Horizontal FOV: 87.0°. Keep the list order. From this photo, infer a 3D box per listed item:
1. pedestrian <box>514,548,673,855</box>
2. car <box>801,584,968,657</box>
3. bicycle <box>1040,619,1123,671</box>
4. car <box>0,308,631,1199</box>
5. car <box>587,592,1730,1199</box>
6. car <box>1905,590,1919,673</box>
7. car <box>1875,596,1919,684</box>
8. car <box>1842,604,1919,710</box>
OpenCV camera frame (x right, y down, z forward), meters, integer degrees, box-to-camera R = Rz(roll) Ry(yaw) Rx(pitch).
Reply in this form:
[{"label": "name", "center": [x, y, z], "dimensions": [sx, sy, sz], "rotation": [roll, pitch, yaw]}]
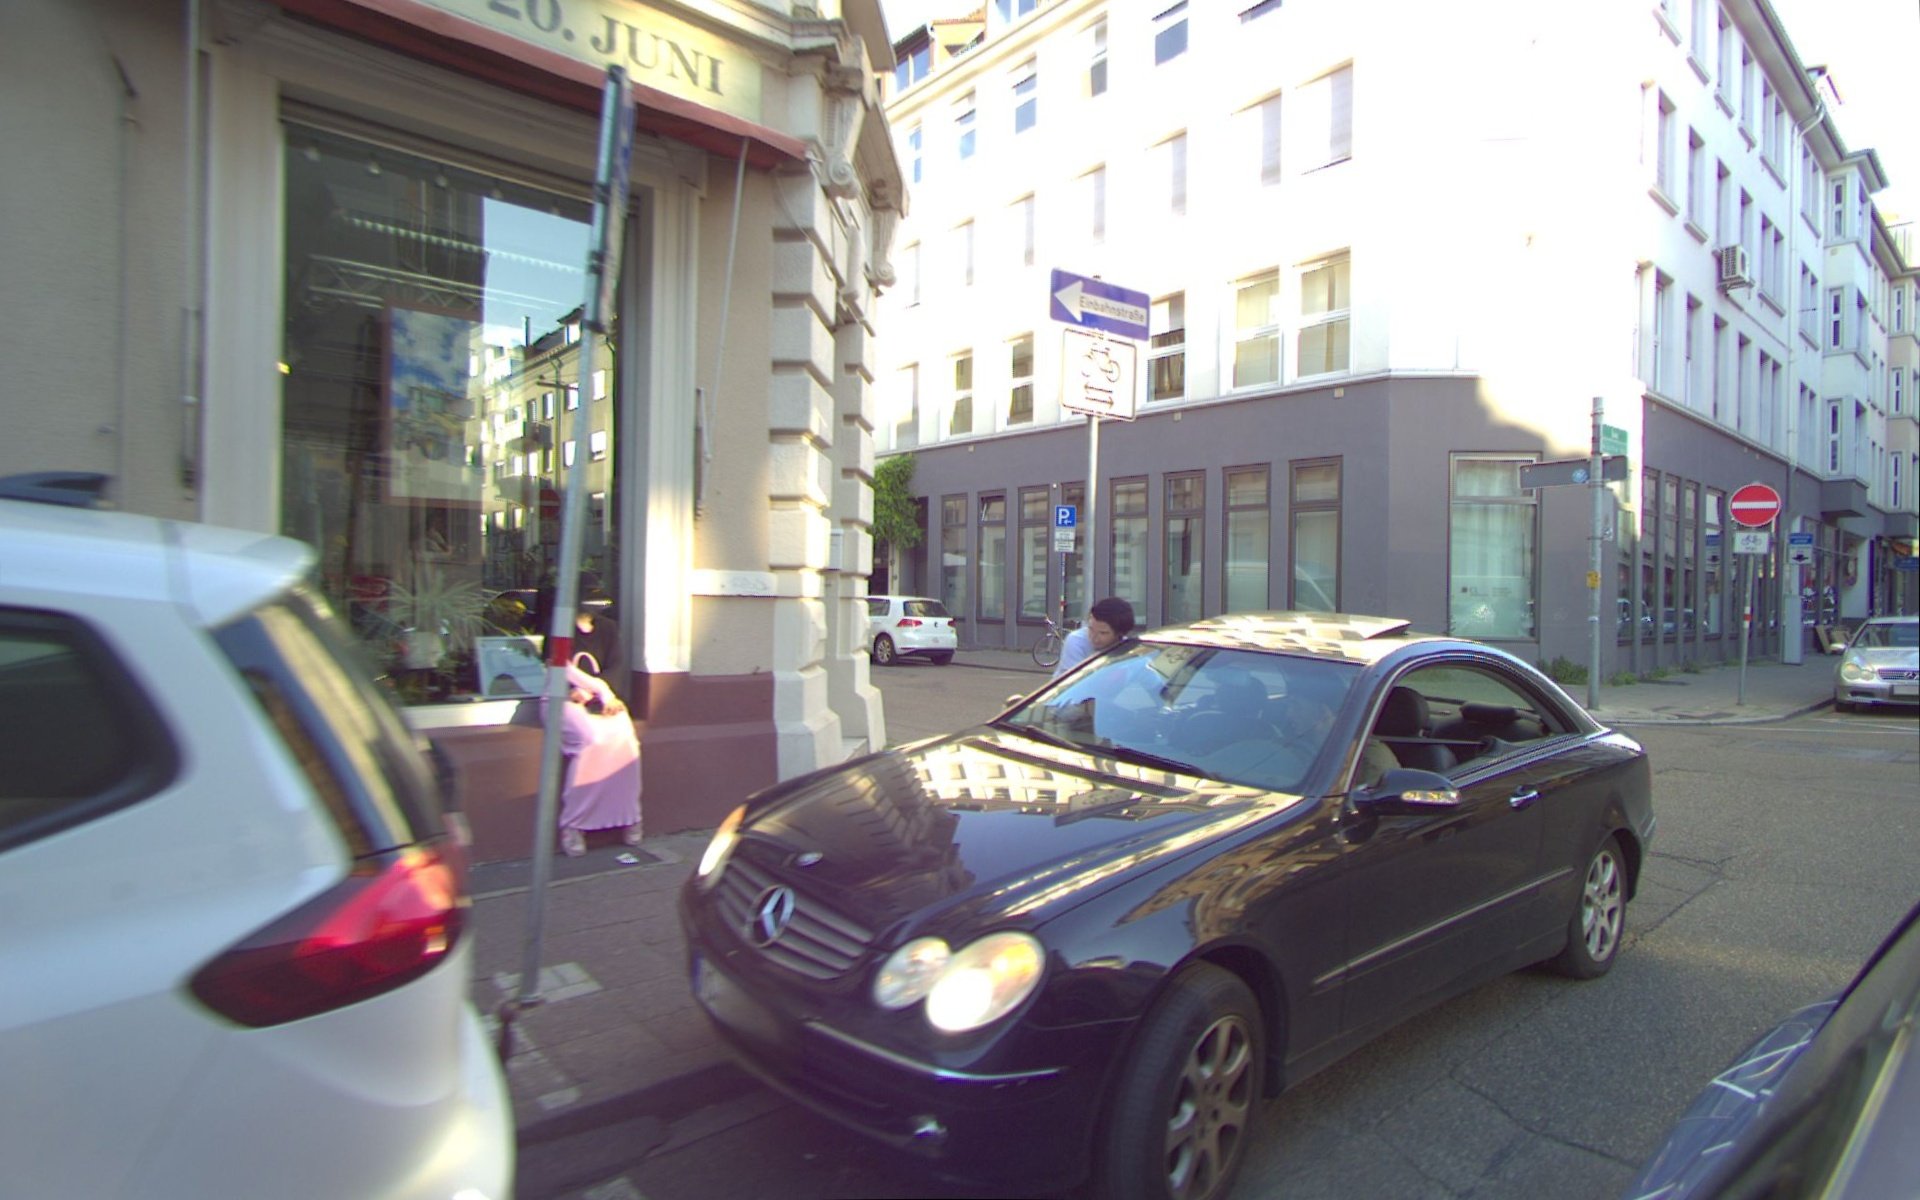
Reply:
[{"label": "pedestrian", "center": [-1.956, 0.488, 5.381], "dimensions": [0.570, 1.490, 0.716], "rotation": [1, 0, -41]}, {"label": "car", "center": [-1.728, 0.400, 22.219], "dimensions": [1.634, 1.432, 3.875], "rotation": [1, 0, -42]}, {"label": "bicycle", "center": [2.330, 0.850, 19.545], "dimensions": [0.587, 0.917, 1.642], "rotation": [1, 0, -40]}, {"label": "car", "center": [-2.757, 0.529, 0.801], "dimensions": [4.383, 1.745, 1.820], "rotation": [1, 0, -41]}, {"label": "car", "center": [1.182, 0.725, 4.016], "dimensions": [4.642, 1.426, 1.889], "rotation": [1, 0, -38]}, {"label": "car", "center": [22.907, 0.713, 22.483], "dimensions": [4.408, 1.766, 2.334], "rotation": [1, 0, -41]}, {"label": "car", "center": [18.650, 0.736, 18.773], "dimensions": [4.045, 1.544, 2.012], "rotation": [1, 0, -41]}, {"label": "car", "center": [14.608, 0.789, 15.084], "dimensions": [4.412, 1.420, 1.752], "rotation": [1, -1, -43]}]
